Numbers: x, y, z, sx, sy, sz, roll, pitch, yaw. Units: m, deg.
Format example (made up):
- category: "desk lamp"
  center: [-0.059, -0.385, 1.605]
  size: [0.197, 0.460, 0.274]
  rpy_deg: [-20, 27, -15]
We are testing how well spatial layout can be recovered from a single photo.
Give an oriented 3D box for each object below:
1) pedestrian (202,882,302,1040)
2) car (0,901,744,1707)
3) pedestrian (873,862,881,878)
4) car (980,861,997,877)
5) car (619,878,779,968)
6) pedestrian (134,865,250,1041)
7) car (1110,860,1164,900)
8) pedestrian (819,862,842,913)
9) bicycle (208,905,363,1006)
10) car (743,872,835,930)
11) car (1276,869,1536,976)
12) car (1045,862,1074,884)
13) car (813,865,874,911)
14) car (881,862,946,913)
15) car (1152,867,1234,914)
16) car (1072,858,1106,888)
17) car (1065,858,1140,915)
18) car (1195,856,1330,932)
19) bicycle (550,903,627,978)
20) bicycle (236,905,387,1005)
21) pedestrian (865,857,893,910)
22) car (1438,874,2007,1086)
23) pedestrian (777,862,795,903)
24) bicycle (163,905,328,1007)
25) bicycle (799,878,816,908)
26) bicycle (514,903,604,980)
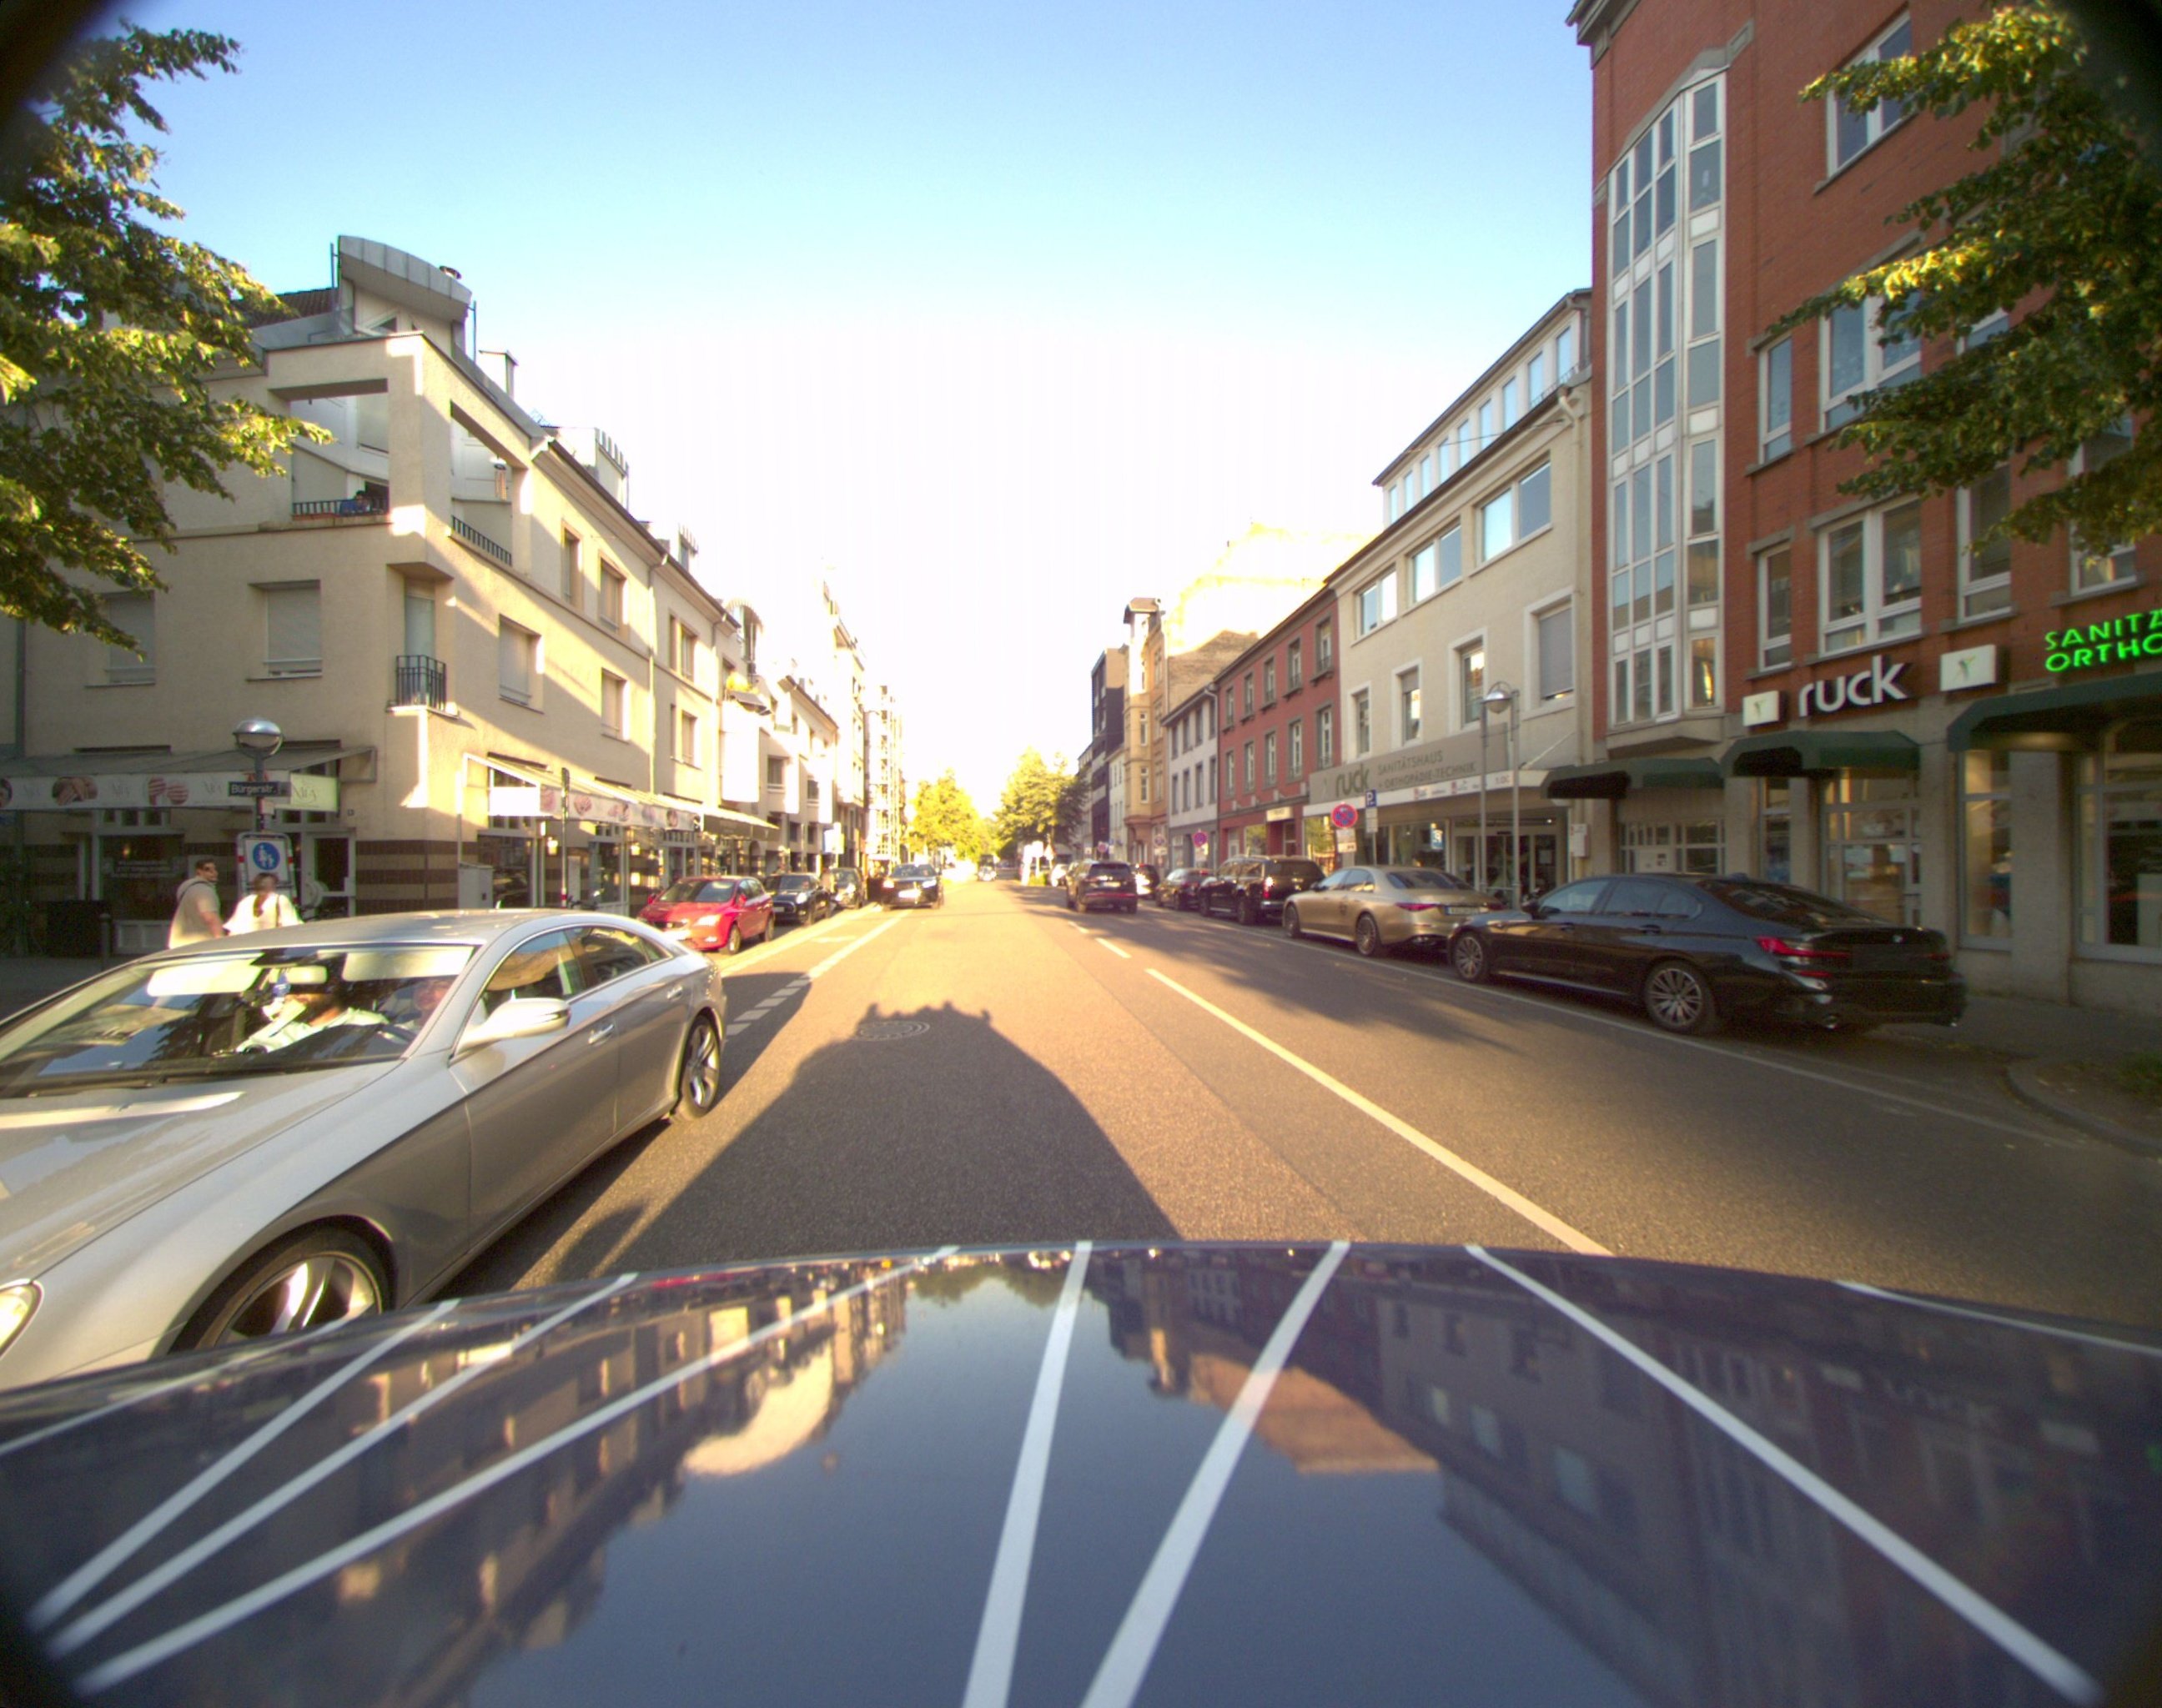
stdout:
- category: "pedestrian"
  center: [-8.596, 1.092, 7.891]
  size: [0.521, 1.583, 0.408]
  rpy_deg: [2, 0, -8]
- category: "car"
  center: [-3.020, 1.065, 3.147]
  size: [1.748, 1.393, 4.635]
  rpy_deg: [-1, 0, -8]
- category: "pedestrian"
  center: [-16.612, 1.280, 61.890]
  size: [0.492, 1.256, 0.421]
  rpy_deg: [-2, 1, -7]
- category: "car"
  center: [-9.419, 1.505, 77.430]
  size: [1.623, 1.465, 3.686]
  rpy_deg: [-2, 0, -8]
- category: "car"
  center: [-7.191, 1.217, 14.721]
  size: [1.594, 1.425, 3.923]
  rpy_deg: [1, 0, -8]
- category: "pedestrian"
  center: [-9.180, 1.004, 7.865]
  size: [0.545, 1.748, 0.502]
  rpy_deg: [2, 0, -8]
- category: "car"
  center: [2.495, 1.153, 34.765]
  size: [1.726, 1.673, 4.047]
  rpy_deg: [2, -1, -6]
- category: "pedestrian"
  center: [-8.612, 1.134, 26.145]
  size: [0.631, 1.739, 0.669]
  rpy_deg: [0, 0, -8]
- category: "bicycle"
  center: [-10.615, 1.302, 10.233]
  size: [0.291, 1.098, 1.886]
  rpy_deg: [-1, 0, -7]
- category: "car"
  center: [-8.210, 1.264, 21.696]
  size: [1.622, 1.425, 3.923]
  rpy_deg: [0, 0, -8]
- category: "car"
  center: [5.357, 1.046, 13.490]
  size: [2.000, 1.463, 5.104]
  rpy_deg: [1, -1, -6]
- category: "car"
  center: [-1.601, 1.328, 54.867]
  size: [1.674, 1.512, 3.562]
  rpy_deg: [1, 0, -8]
- category: "car"
  center: [-9.034, 1.249, 29.198]
  size: [1.622, 1.583, 3.923]
  rpy_deg: [-1, 0, -8]
- category: "car"
  center: [-5.960, 1.132, 27.503]
  size: [1.891, 1.626, 4.224]
  rpy_deg: [-2, 0, -8]
- category: "car"
  center: [3.798, 1.226, 26.468]
  size: [1.707, 1.429, 4.012]
  rpy_deg: [2, -1, -8]
- category: "car"
  center: [0.476, 1.199, 48.038]
  size: [1.674, 1.763, 3.563]
  rpy_deg: [2, -1, -6]
- category: "car"
  center: [0.596, 0.987, 24.467]
  size: [1.736, 1.665, 4.293]
  rpy_deg: [0, -1, -7]
- category: "car"
  center: [4.647, 0.966, 20.337]
  size: [1.726, 1.768, 4.935]
  rpy_deg: [1, -1, -9]
- category: "bicycle"
  center: [-8.017, 1.374, 12.443]
  size: [0.315, 1.040, 1.664]
  rpy_deg: [0, 0, -5]
- category: "bicycle"
  center: [-10.301, 1.303, 10.268]
  size: [0.322, 1.098, 1.878]
  rpy_deg: [-1, 0, -7]
- category: "pedestrian"
  center: [-7.388, 1.071, 27.801]
  size: [0.779, 1.872, 0.669]
  rpy_deg: [-4, 1, -8]
- category: "car"
  center: [5.886, 1.012, 7.922]
  size: [1.726, 1.464, 4.538]
  rpy_deg: [2, -1, -7]
- category: "pedestrian"
  center: [-13.096, 1.275, 33.719]
  size: [0.576, 1.789, 0.450]
  rpy_deg: [-2, 1, -7]
- category: "bicycle"
  center: [-11.070, 1.301, 10.166]
  size: [0.322, 1.098, 1.878]
  rpy_deg: [-1, 0, -7]
- category: "bicycle"
  center: [-10.594, 1.513, 29.448]
  size: [0.296, 1.079, 1.462]
  rpy_deg: [-1, 0, -7]
- category: "bicycle"
  center: [-8.379, 1.366, 12.286]
  size: [0.315, 1.040, 1.881]
  rpy_deg: [0, 0, -5]
